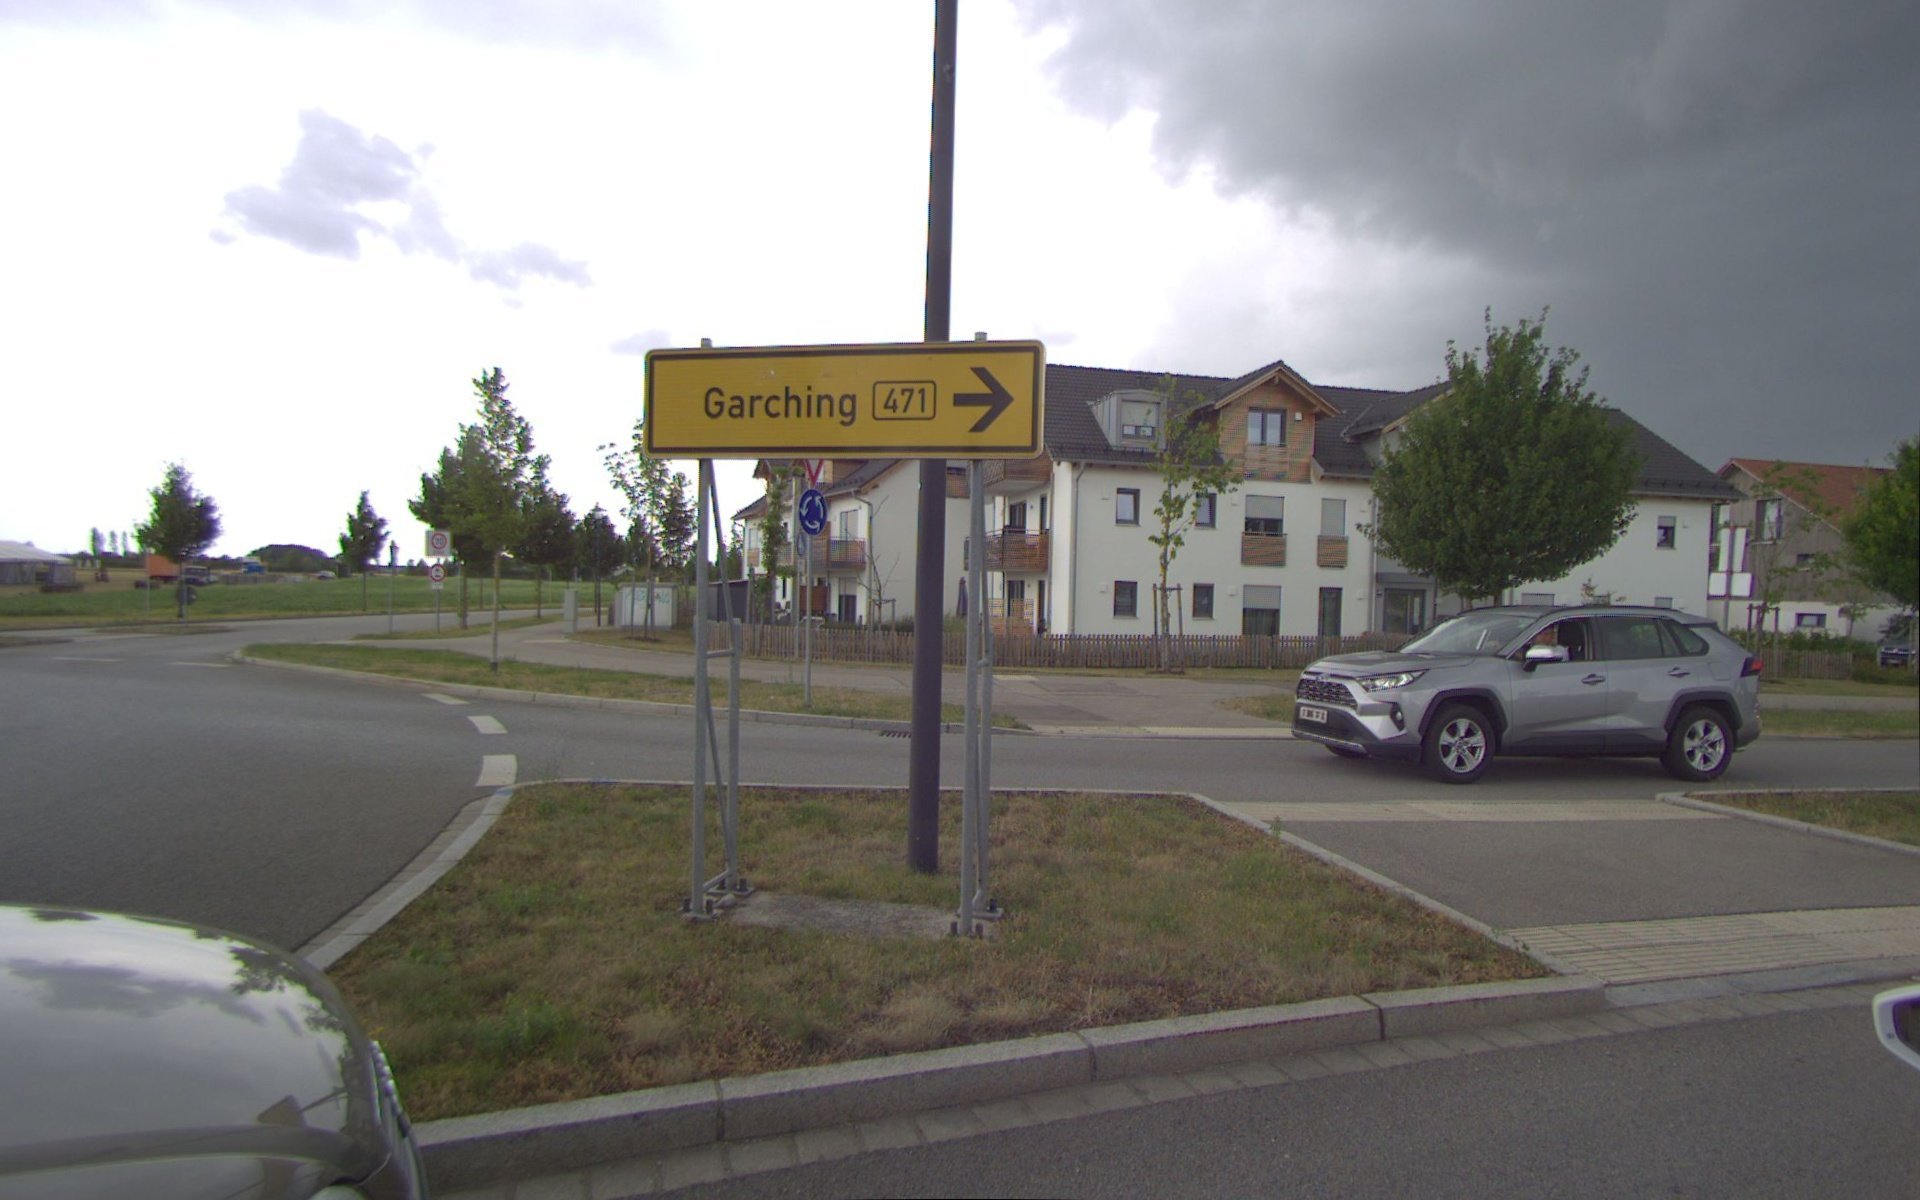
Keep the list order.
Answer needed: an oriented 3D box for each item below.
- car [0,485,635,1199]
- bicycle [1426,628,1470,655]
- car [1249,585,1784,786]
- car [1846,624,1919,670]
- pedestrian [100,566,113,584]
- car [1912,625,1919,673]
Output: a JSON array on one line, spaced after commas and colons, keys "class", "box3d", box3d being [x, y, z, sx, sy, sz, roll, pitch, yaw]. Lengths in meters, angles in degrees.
[{"class": "car", "box3d": [-2.654, 0.602, 0.358, 4.501, 1.485, 1.763, 1, 1, -39]}, {"class": "bicycle", "box3d": [16.459, 1.405, 33.882, 1.314, 0.854, 0.367, 2, 3, -12]}, {"class": "car", "box3d": [5.498, 0.811, 10.136, 4.555, 1.726, 1.995, 2, -1, -13]}, {"class": "car", "box3d": [41.060, 2.056, 43.228, 4.384, 1.795, 1.997, 2, 1, -9]}, {"class": "pedestrian", "box3d": [-100.794, -2.932, 118.635, 1.042, 2.041, 1.049, 1, 1, -37]}, {"class": "car", "box3d": [35.707, 1.826, 34.150, 1.964, 1.702, 4.536, 2, 1, -10]}]
